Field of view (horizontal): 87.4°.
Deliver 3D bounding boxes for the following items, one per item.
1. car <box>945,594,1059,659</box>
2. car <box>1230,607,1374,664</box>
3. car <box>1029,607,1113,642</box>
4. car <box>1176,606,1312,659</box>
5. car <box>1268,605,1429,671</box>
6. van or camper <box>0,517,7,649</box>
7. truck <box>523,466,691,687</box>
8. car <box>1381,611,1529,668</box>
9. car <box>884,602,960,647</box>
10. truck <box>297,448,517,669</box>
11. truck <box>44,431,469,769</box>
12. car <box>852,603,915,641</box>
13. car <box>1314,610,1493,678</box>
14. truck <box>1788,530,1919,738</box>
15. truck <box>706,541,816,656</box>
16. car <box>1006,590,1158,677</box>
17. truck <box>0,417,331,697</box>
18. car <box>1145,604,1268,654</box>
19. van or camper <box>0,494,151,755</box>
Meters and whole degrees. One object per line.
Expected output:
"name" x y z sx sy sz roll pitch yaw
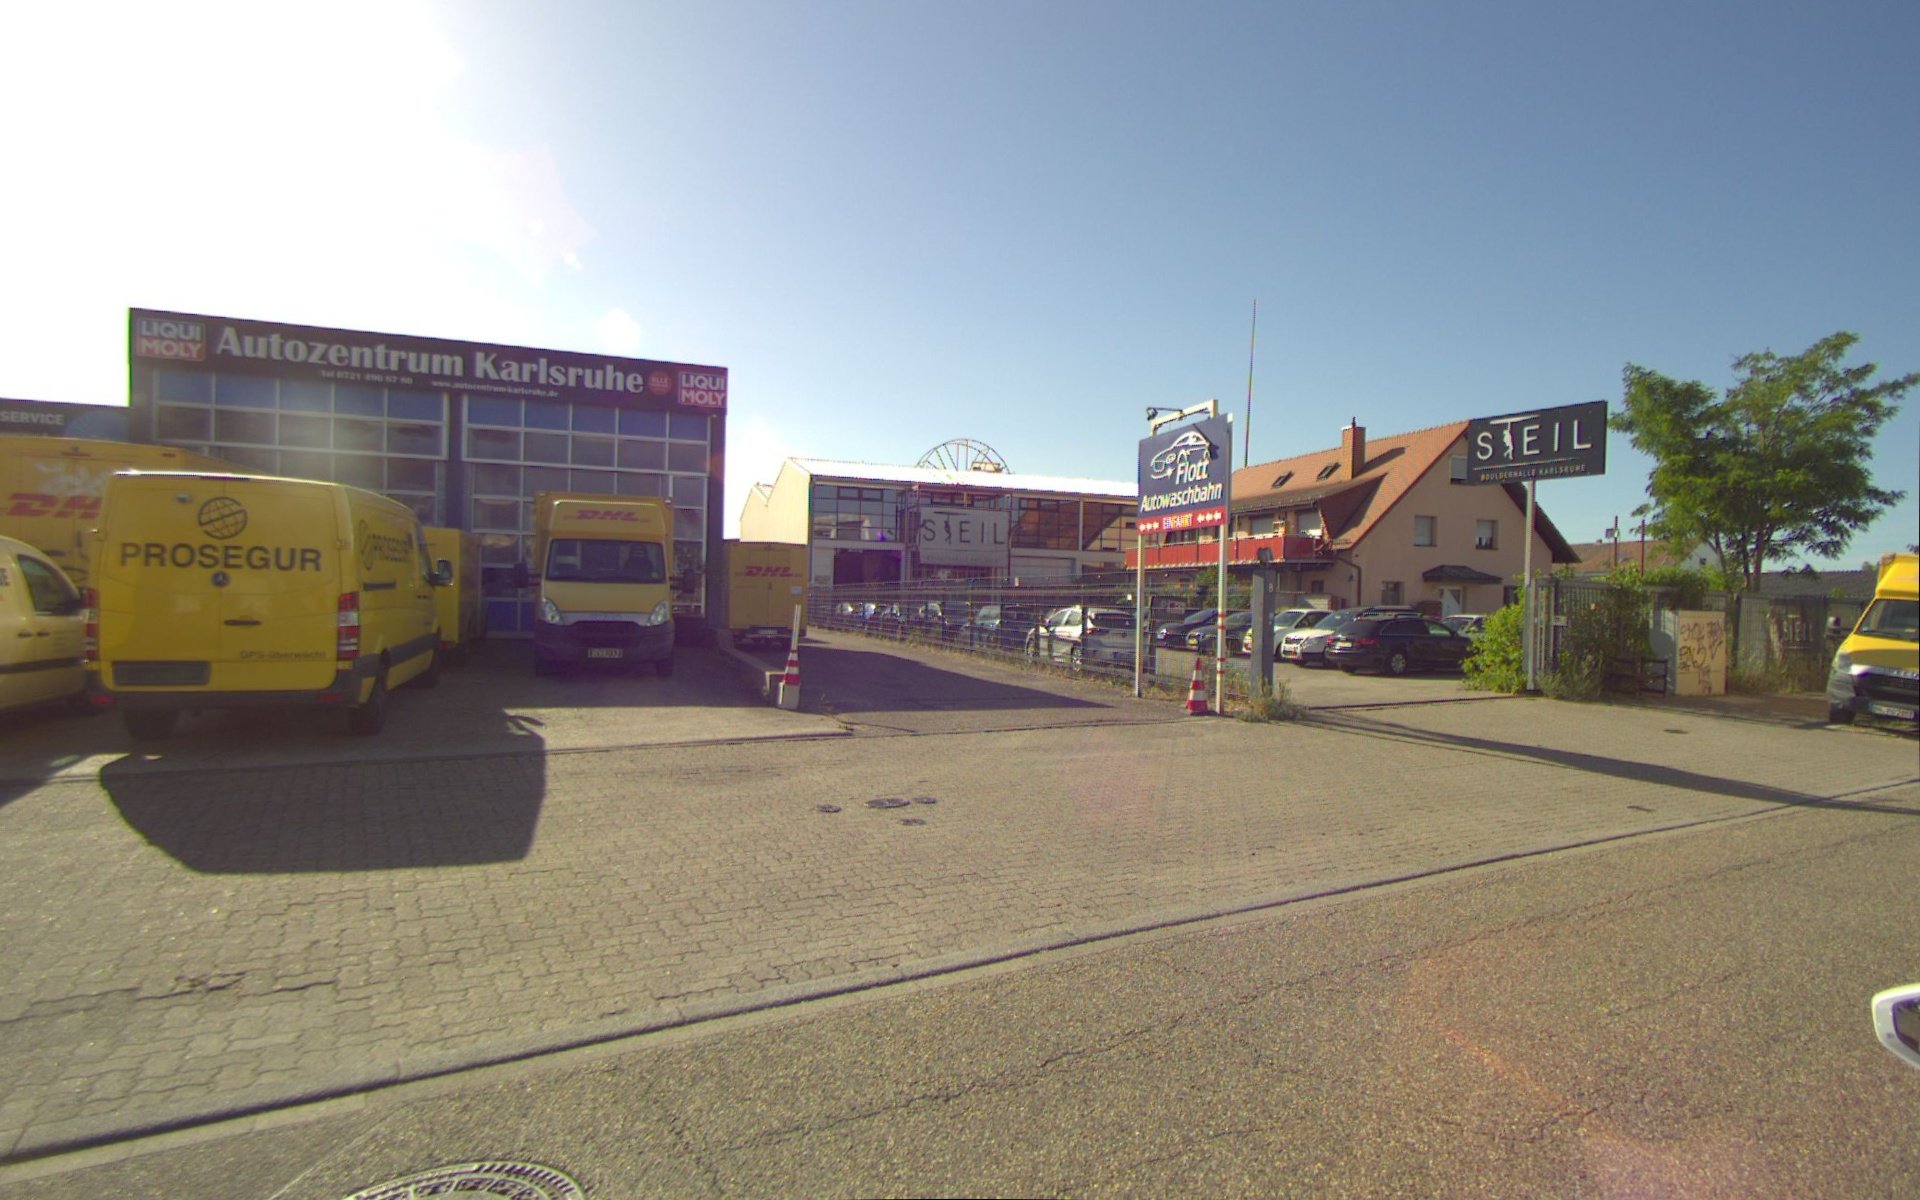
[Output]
"car" 1.115 0.703 28.786 1.818 1.680 4.082 1 0 -21
"car" 10.365 1.084 30.480 3.855 1.599 1.693 2 0 -18
"car" 5.292 1.173 47.899 3.718 1.514 1.583 2 0 -28
"car" 9.226 1.051 32.678 3.980 1.599 1.693 2 0 -18
"car" 10.791 1.048 27.912 3.980 1.683 1.693 2 0 -18
"van or camper" -16.146 -0.294 13.912 3.958 2.040 1.849 2 0 -34
"truck" -5.826 -0.372 16.911 2.139 3.012 6.086 1 1 -18
"car" 15.089 1.206 30.627 3.980 1.599 1.693 2 0 -18
"car" -1.490 0.889 37.606 1.805 1.511 3.871 2 0 -18
"truck" -8.815 -0.556 16.590 2.139 3.012 5.331 1 0 -18
"truck" -6.961 -0.069 10.883 2.189 2.602 5.914 1 2 -19
"car" -3.395 0.925 43.964 1.805 1.511 3.871 2 0 -18
"car" 11.105 1.080 25.192 3.980 1.599 1.693 1 0 -18
"truck" 16.462 0.564 16.485 6.301 3.023 2.390 2 2 -31
"truck" -5.835 -0.040 28.925 2.376 2.976 4.696 2 0 -20
"car" 2.711 0.701 23.334 1.818 1.816 4.082 1 0 -21
"truck" -11.120 -0.573 14.263 2.484 3.161 5.660 1 2 -20
"car" 8.657 1.026 35.176 4.069 1.627 1.705 2 0 -28
"van or camper" -9.008 0.155 8.511 2.220 2.040 4.530 2 0 -24
